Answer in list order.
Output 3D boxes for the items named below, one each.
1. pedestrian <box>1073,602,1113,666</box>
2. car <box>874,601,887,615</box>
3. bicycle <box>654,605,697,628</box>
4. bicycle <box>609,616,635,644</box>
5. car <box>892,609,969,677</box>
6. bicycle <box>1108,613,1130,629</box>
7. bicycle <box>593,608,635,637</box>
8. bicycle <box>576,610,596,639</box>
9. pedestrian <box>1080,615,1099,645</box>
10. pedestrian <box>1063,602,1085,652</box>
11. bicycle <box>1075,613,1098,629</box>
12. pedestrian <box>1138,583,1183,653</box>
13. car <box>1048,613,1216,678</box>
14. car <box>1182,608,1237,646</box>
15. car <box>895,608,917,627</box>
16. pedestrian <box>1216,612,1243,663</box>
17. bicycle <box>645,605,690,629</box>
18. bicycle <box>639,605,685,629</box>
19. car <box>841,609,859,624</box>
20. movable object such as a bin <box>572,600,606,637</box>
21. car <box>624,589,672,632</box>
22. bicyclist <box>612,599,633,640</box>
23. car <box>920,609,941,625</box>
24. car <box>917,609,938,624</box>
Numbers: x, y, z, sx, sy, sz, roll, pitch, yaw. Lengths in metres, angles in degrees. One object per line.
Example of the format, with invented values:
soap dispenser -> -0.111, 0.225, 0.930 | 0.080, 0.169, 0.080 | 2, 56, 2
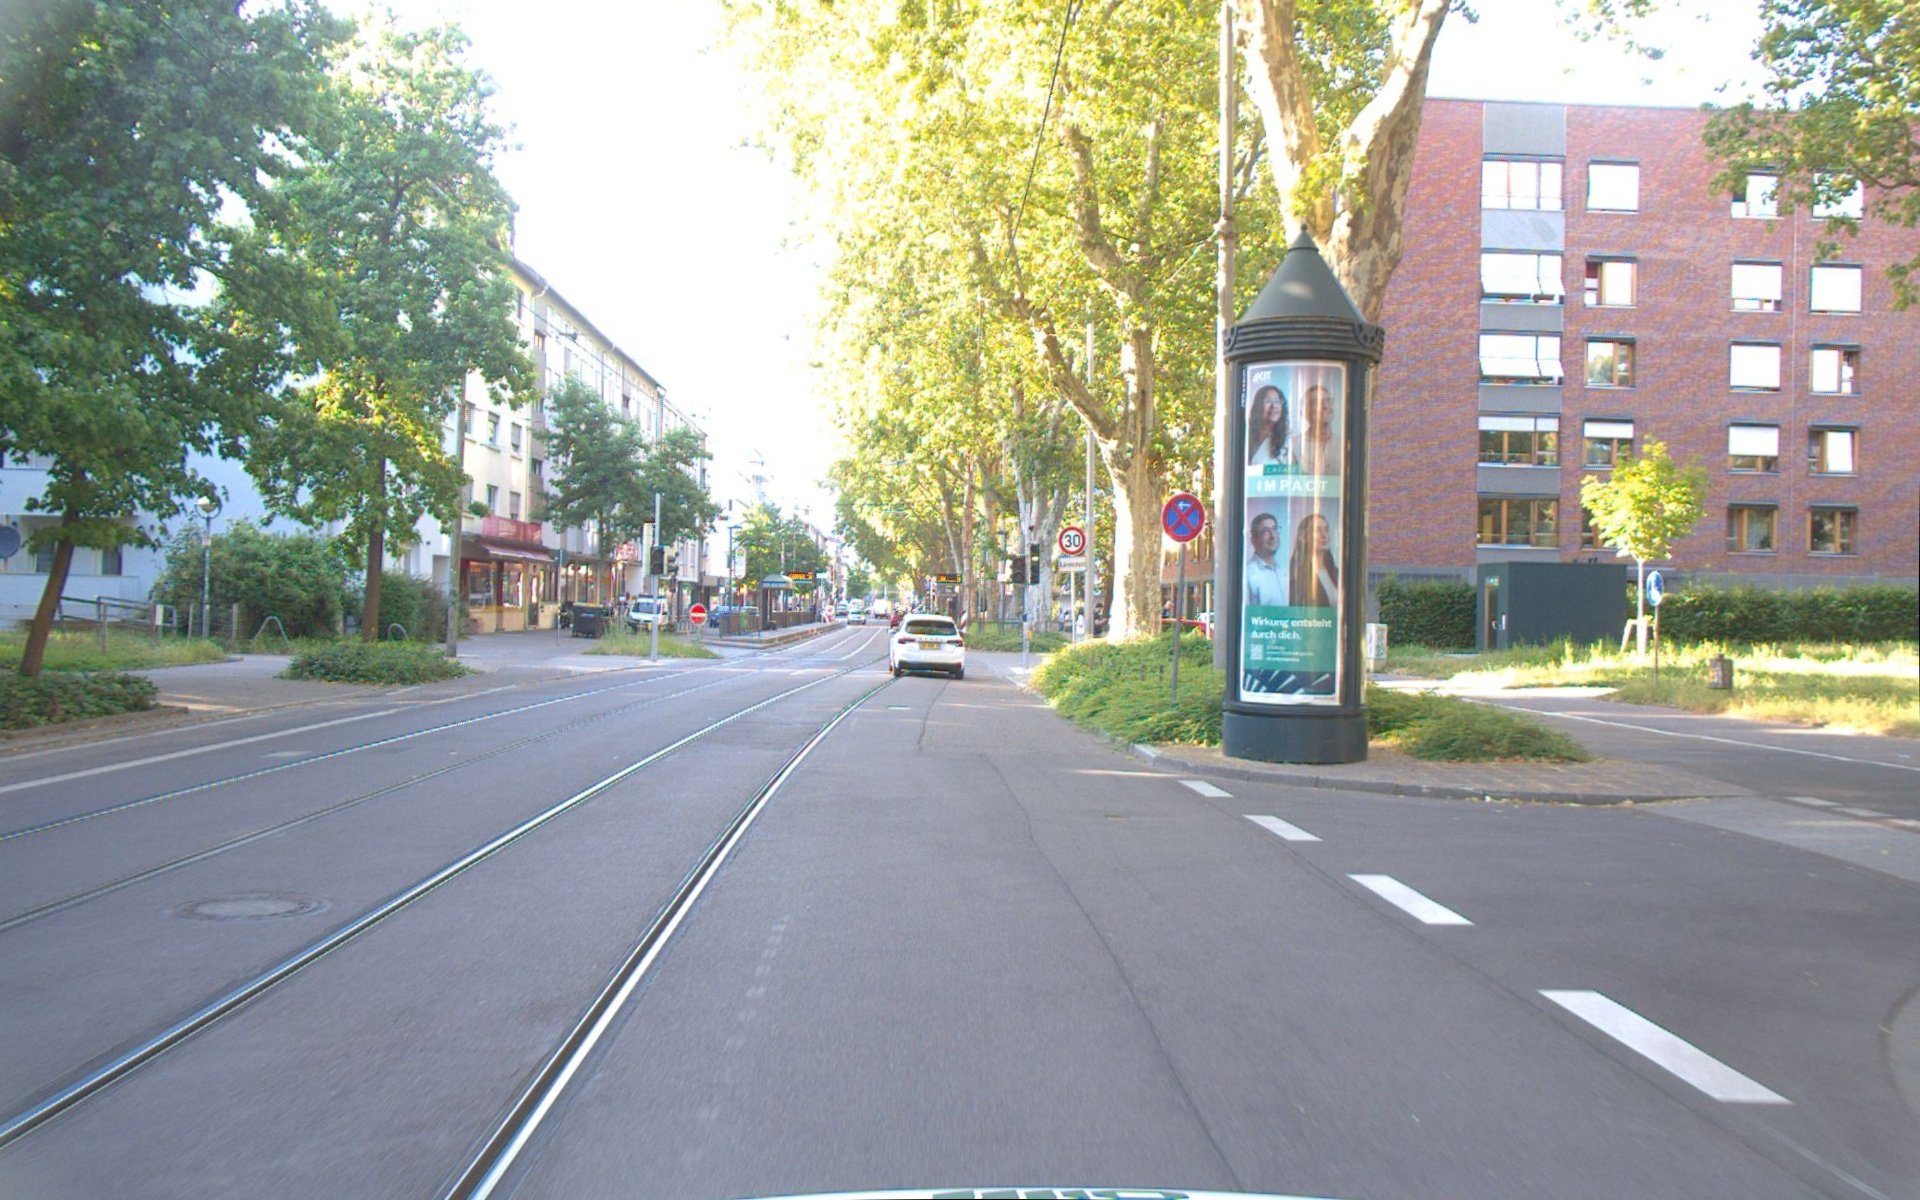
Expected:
pedestrian -> 3.878, 0.981, 48.279 | 0.975, 1.843, 0.863 | 1, 0, -8
car -> -11.342, 1.189, 236.846 | 1.828, 1.925, 3.998 | 1, 0, -2
bicycle -> -15.641, 0.910, 90.931 | 2.208, 1.092, 0.636 | 4, 0, -1
bicycle -> -12.370, 1.100, 60.631 | 0.628, 1.004, 2.100 | 0, 0, -3
car -> -0.761, 0.999, 40.039 | 1.752, 1.540, 3.998 | 1, 0, -2
bicycle -> 11.432, 1.513, 119.081 | 1.533, 1.055, 0.479 | 1, 0, 19
bicycle -> -14.328, 0.939, 68.485 | 1.503, 1.093, 0.885 | 4, 0, -3
bicycle -> -15.312, 0.994, 67.769 | 0.489, 1.127, 1.798 | 5, -1, -5
pedestrian -> 7.298, 1.660, 93.034 | 0.953, 1.652, 0.887 | 1, 0, -3
pedestrian -> 3.940, 0.918, 57.066 | 0.639, 1.698, 0.737 | 1, 0, -3
bicycle -> 9.074, 1.506, 118.896 | 1.533, 1.055, 0.479 | 1, 0, 19
pedestrian -> 5.631, 0.507, 46.520 | 0.964, 1.896, 1.014 | -2, 0, -8
car -> 4.002, 1.046, 38.934 | 3.805, 1.448, 1.648 | 1, 0, 1
car -> 10.377, 1.103, 68.911 | 1.568, 1.521, 3.414 | 1, 0, -4
car -> -4.539, 1.472, 138.772 | 1.752, 1.540, 3.998 | 1, 0, -2
pedestrian -> 9.179, 1.275, 56.366 | 0.721, 1.698, 0.834 | 1, 0, -3
bicycle -> -15.432, 0.909, 87.242 | 2.208, 1.092, 0.636 | 4, 0, -1
bicycle -> -15.412, 0.885, 85.594 | 2.208, 1.092, 0.636 | 4, 0, -1
car -> -10.888, 1.650, 163.609 | 1.660, 1.444, 3.998 | 1, 0, -2
movable object such as a bin -> -14.880, 0.738, 66.390 | 1.147, 1.372, 0.782 | 5, -1, -7
car -> -15.001, 0.494, 79.653 | 1.654, 1.974, 3.998 | 1, 0, -2
bicyclist -> -12.378, 0.715, 60.643 | 0.628, 1.481, 0.836 | 0, 0, -3
car -> -2.921, 1.628, 161.372 | 1.953, 1.478, 3.998 | 1, 0, -2
car -> -3.301, 1.657, 166.444 | 1.953, 1.478, 3.998 | 1, 0, -2
